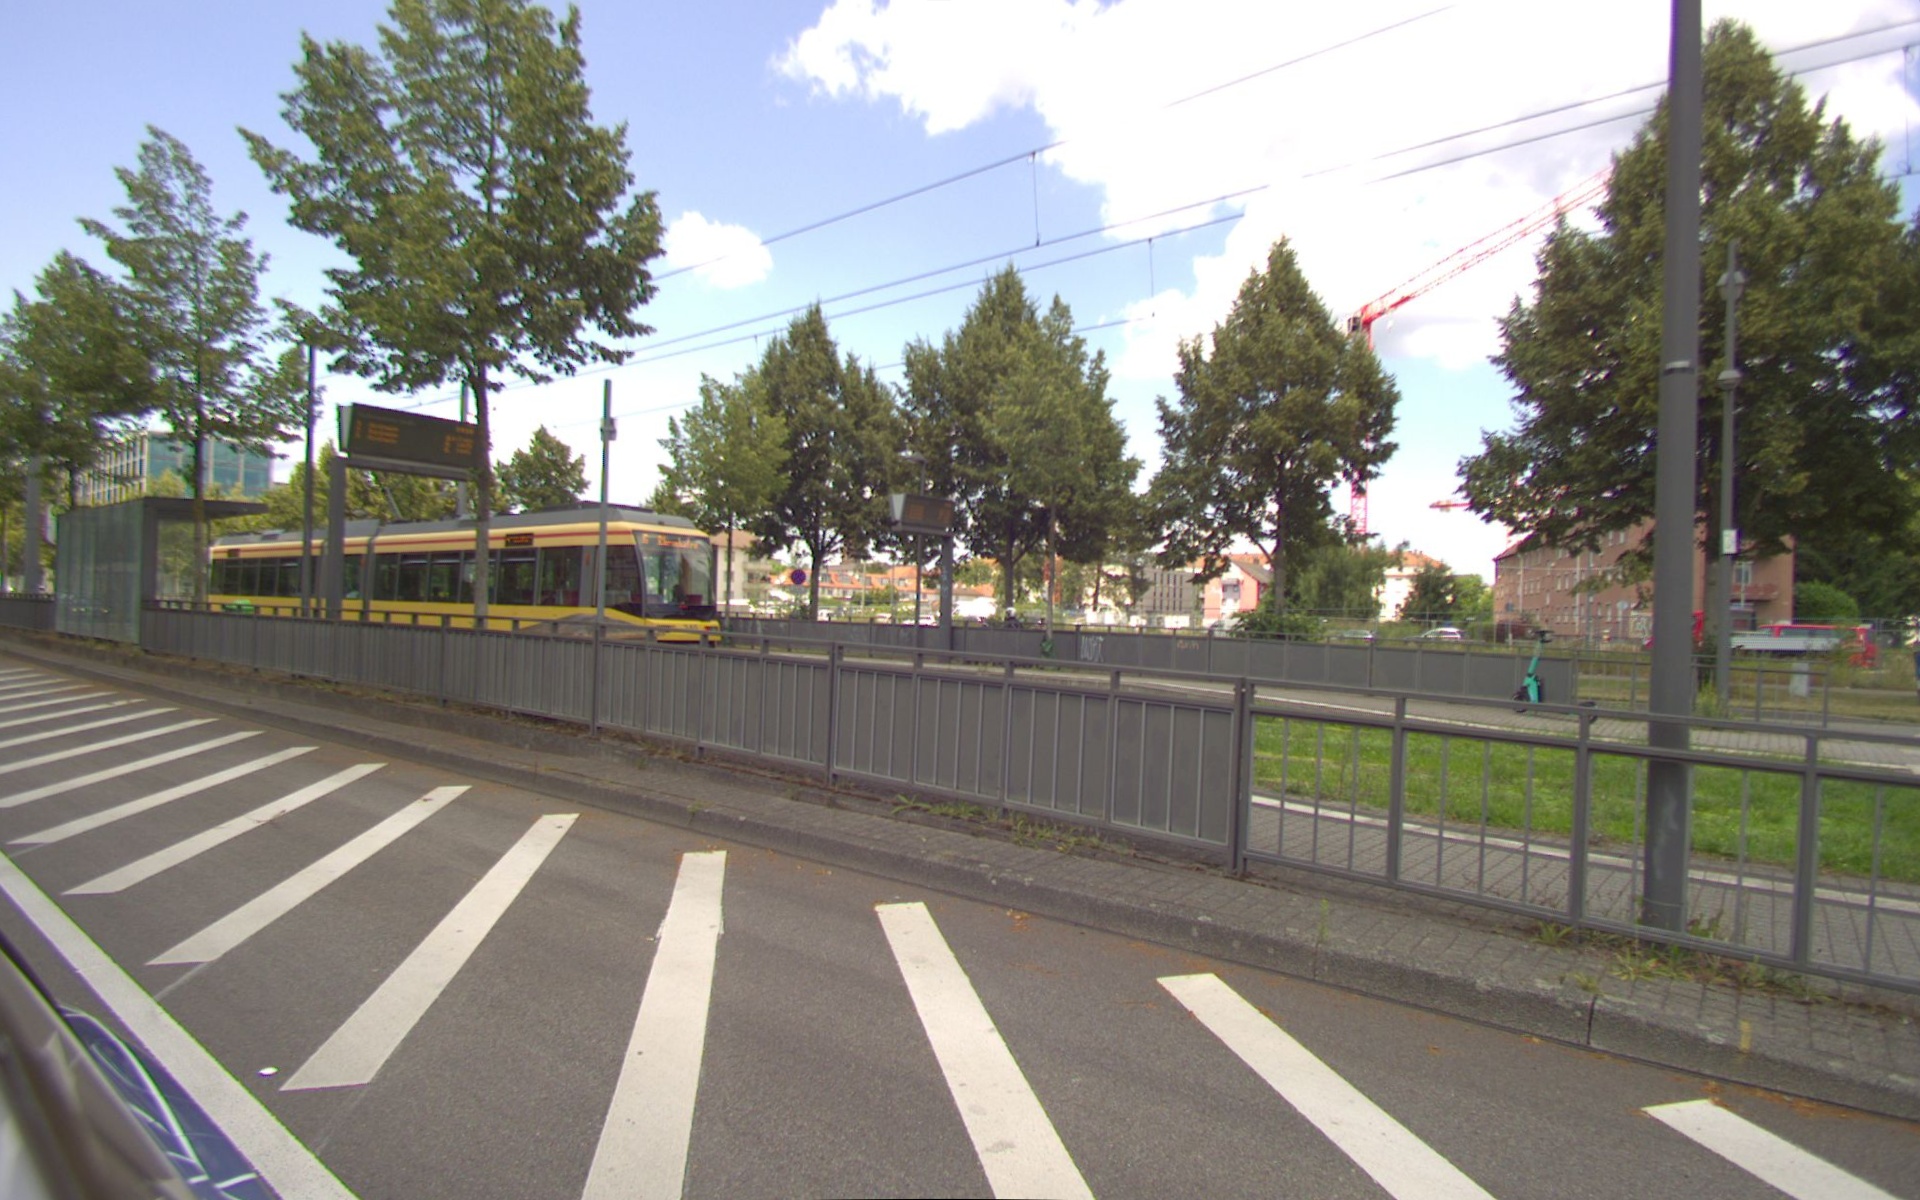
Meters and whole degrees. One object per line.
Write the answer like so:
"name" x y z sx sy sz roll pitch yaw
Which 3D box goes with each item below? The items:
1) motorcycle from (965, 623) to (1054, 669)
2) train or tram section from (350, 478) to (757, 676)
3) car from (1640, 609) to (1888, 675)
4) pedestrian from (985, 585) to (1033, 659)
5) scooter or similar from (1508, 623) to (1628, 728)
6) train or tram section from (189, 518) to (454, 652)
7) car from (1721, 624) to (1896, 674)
"motorcycle" 1.143 1.061 23.803 2.194 1.001 0.564 0 -2 41
"train or tram section" -10.451 -0.417 24.494 13.460 3.768 2.815 0 -2 39
"car" 29.676 1.487 37.733 2.353 2.214 6.860 2 -1 -28
"pedestrian" 1.164 0.514 23.800 0.773 1.685 0.815 0 -2 40
"scooter or similar" 8.401 1.017 14.035 0.412 1.311 1.350 2 1 -31
"train or tram section" -21.500 -0.380 33.344 14.646 3.666 2.660 0 -2 39
"car" 35.128 1.988 42.065 2.052 1.866 5.199 2 -1 -32
